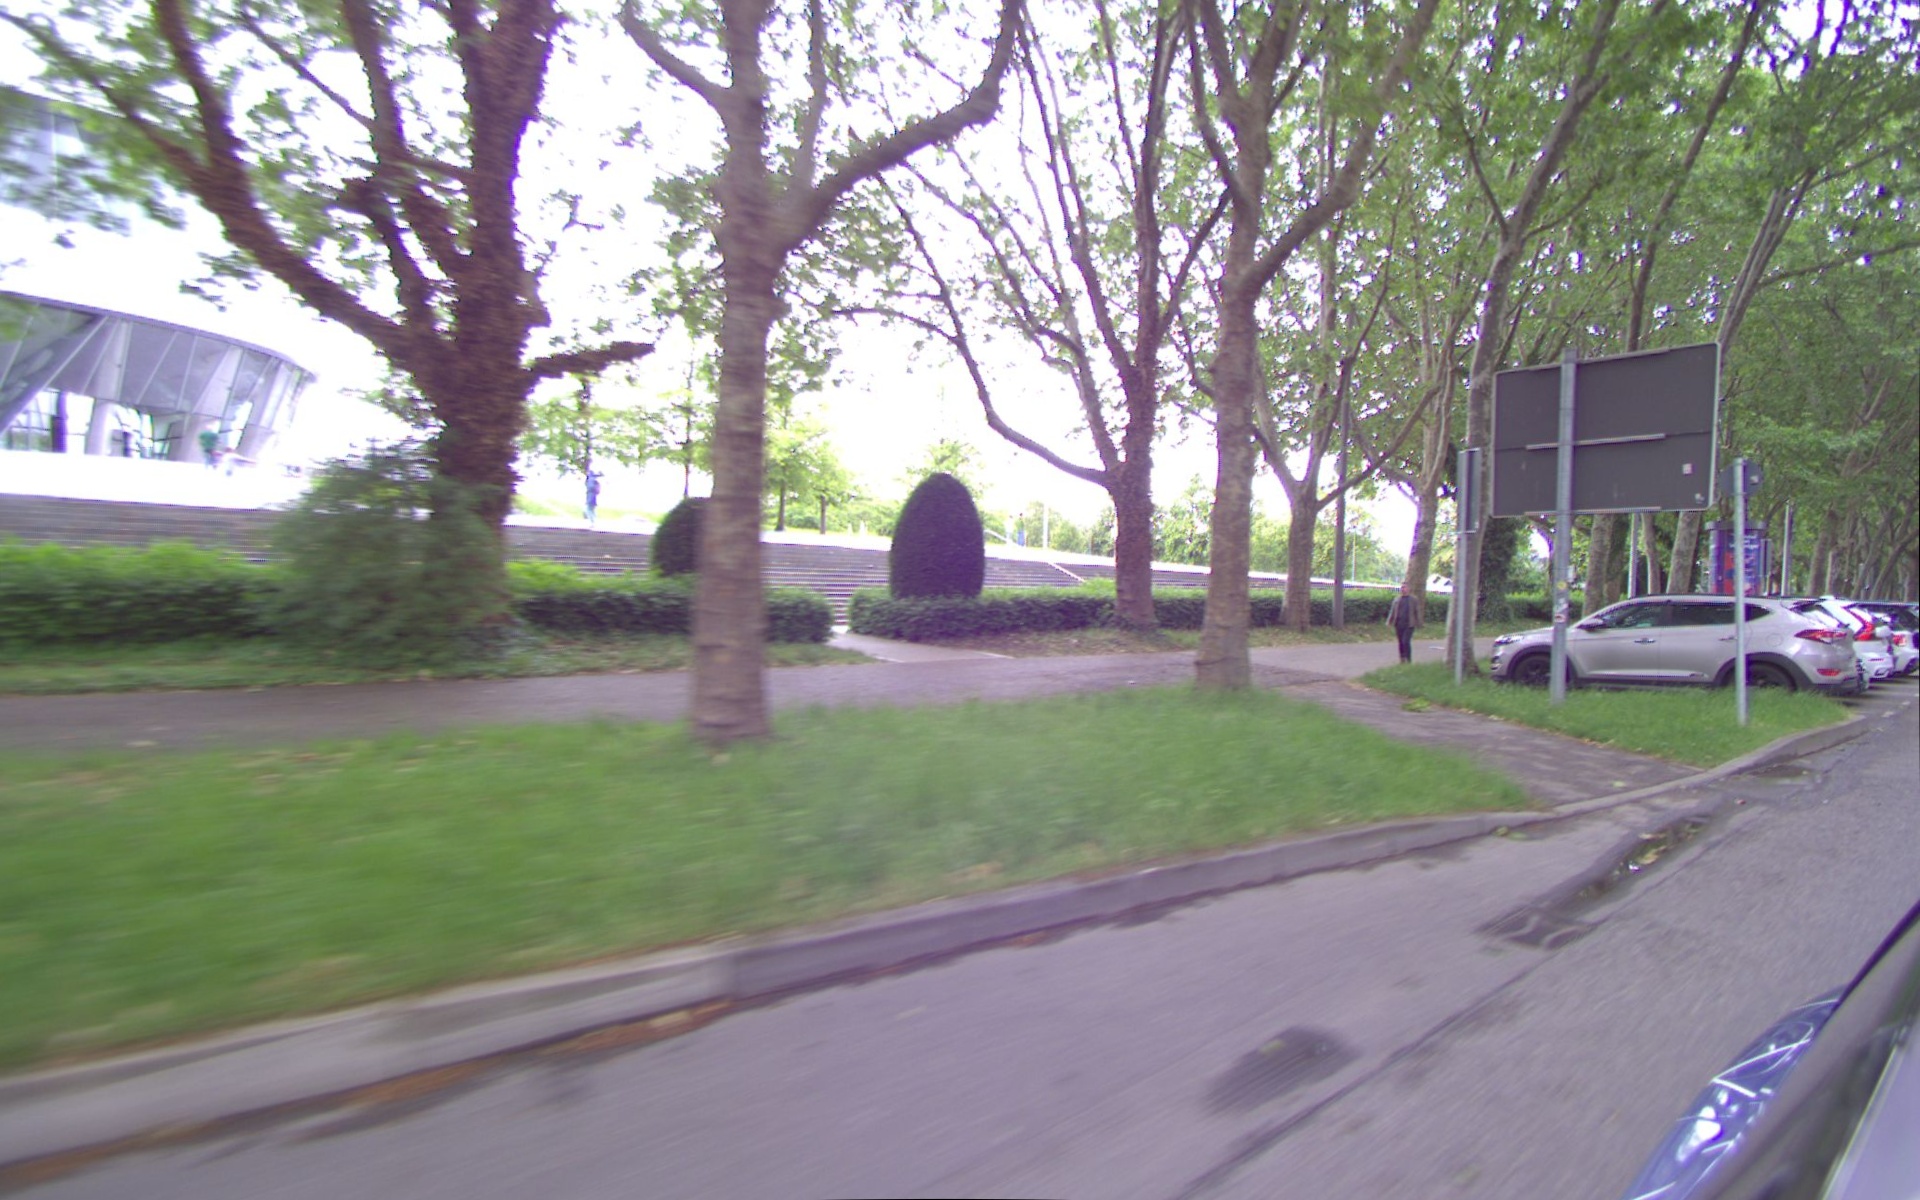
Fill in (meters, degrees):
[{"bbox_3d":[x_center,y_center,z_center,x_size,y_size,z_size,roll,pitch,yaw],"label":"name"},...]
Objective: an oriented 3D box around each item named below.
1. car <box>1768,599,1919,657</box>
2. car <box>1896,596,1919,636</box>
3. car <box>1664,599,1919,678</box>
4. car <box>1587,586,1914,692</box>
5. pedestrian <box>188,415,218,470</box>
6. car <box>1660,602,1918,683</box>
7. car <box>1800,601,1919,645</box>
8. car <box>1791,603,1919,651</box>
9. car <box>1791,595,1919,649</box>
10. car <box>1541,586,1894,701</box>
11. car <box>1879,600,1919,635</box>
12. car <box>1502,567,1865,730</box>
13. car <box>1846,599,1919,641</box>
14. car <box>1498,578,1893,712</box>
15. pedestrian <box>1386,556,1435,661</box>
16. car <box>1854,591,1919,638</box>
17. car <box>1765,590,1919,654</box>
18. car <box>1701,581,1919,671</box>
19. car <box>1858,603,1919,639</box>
[{"bbox_3d":[25.130,0.750,27.965,1.697,1.476,4.156,1,0,-41],"label":"car"},{"bbox_3d":[45.086,0.749,45.308,2.012,1.819,4.502,1,0,-41],"label":"car"},{"bbox_3d":[17.729,0.750,21.417,1.916,1.474,4.351,1,0,-43],"label":"car"},{"bbox_3d":[14.018,0.606,18.155,1.891,1.654,4.354,1,0,-41],"label":"car"},{"bbox_3d":[-26.455,-5.497,35.390,0.667,1.787,0.838,0,1,-25],"label":"pedestrian"},{"bbox_3d":[16.208,0.763,19.911,1.746,1.420,3.735,0,0,-42],"label":"car"},{"bbox_3d":[32.096,0.774,35.090,1.891,1.431,4.354,1,0,-41],"label":"car"},{"bbox_3d":[28.540,0.815,31.383,1.713,1.397,4.047,1,0,-41],"label":"car"},{"bbox_3d":[30.358,0.710,33.145,1.838,1.660,4.601,1,0,-39],"label":"car"},{"bbox_3d":[12.284,0.606,16.644,1.891,1.625,4.354,1,0,-41],"label":"car"},{"bbox_3d":[41.596,0.763,42.312,1.898,1.446,4.503,0,0,-40],"label":"car"},{"bbox_3d":[10.442,0.595,14.828,1.965,2.039,3.994,1,0,-41],"label":"car"},{"bbox_3d":[36.127,0.751,37.775,1.890,1.521,4.357,1,0,-38],"label":"car"},{"bbox_3d":[10.521,0.541,14.748,1.891,1.654,4.354,1,0,-41],"label":"car"},{"bbox_3d":[8.905,0.150,20.004,0.781,2.039,0.592,1,1,32],"label":"pedestrian"},{"bbox_3d":[38.165,0.594,39.594,2.009,1.819,4.507,1,0,-37],"label":"car"},{"bbox_3d":[26.731,0.623,29.955,1.806,1.768,4.351,1,0,-43],"label":"car"},{"bbox_3d":[19.589,0.527,22.802,1.893,1.782,4.352,1,2,-42],"label":"car"},{"bbox_3d":[39.590,0.873,41.077,1.796,1.437,4.505,0,0,-39],"label":"car"}]
